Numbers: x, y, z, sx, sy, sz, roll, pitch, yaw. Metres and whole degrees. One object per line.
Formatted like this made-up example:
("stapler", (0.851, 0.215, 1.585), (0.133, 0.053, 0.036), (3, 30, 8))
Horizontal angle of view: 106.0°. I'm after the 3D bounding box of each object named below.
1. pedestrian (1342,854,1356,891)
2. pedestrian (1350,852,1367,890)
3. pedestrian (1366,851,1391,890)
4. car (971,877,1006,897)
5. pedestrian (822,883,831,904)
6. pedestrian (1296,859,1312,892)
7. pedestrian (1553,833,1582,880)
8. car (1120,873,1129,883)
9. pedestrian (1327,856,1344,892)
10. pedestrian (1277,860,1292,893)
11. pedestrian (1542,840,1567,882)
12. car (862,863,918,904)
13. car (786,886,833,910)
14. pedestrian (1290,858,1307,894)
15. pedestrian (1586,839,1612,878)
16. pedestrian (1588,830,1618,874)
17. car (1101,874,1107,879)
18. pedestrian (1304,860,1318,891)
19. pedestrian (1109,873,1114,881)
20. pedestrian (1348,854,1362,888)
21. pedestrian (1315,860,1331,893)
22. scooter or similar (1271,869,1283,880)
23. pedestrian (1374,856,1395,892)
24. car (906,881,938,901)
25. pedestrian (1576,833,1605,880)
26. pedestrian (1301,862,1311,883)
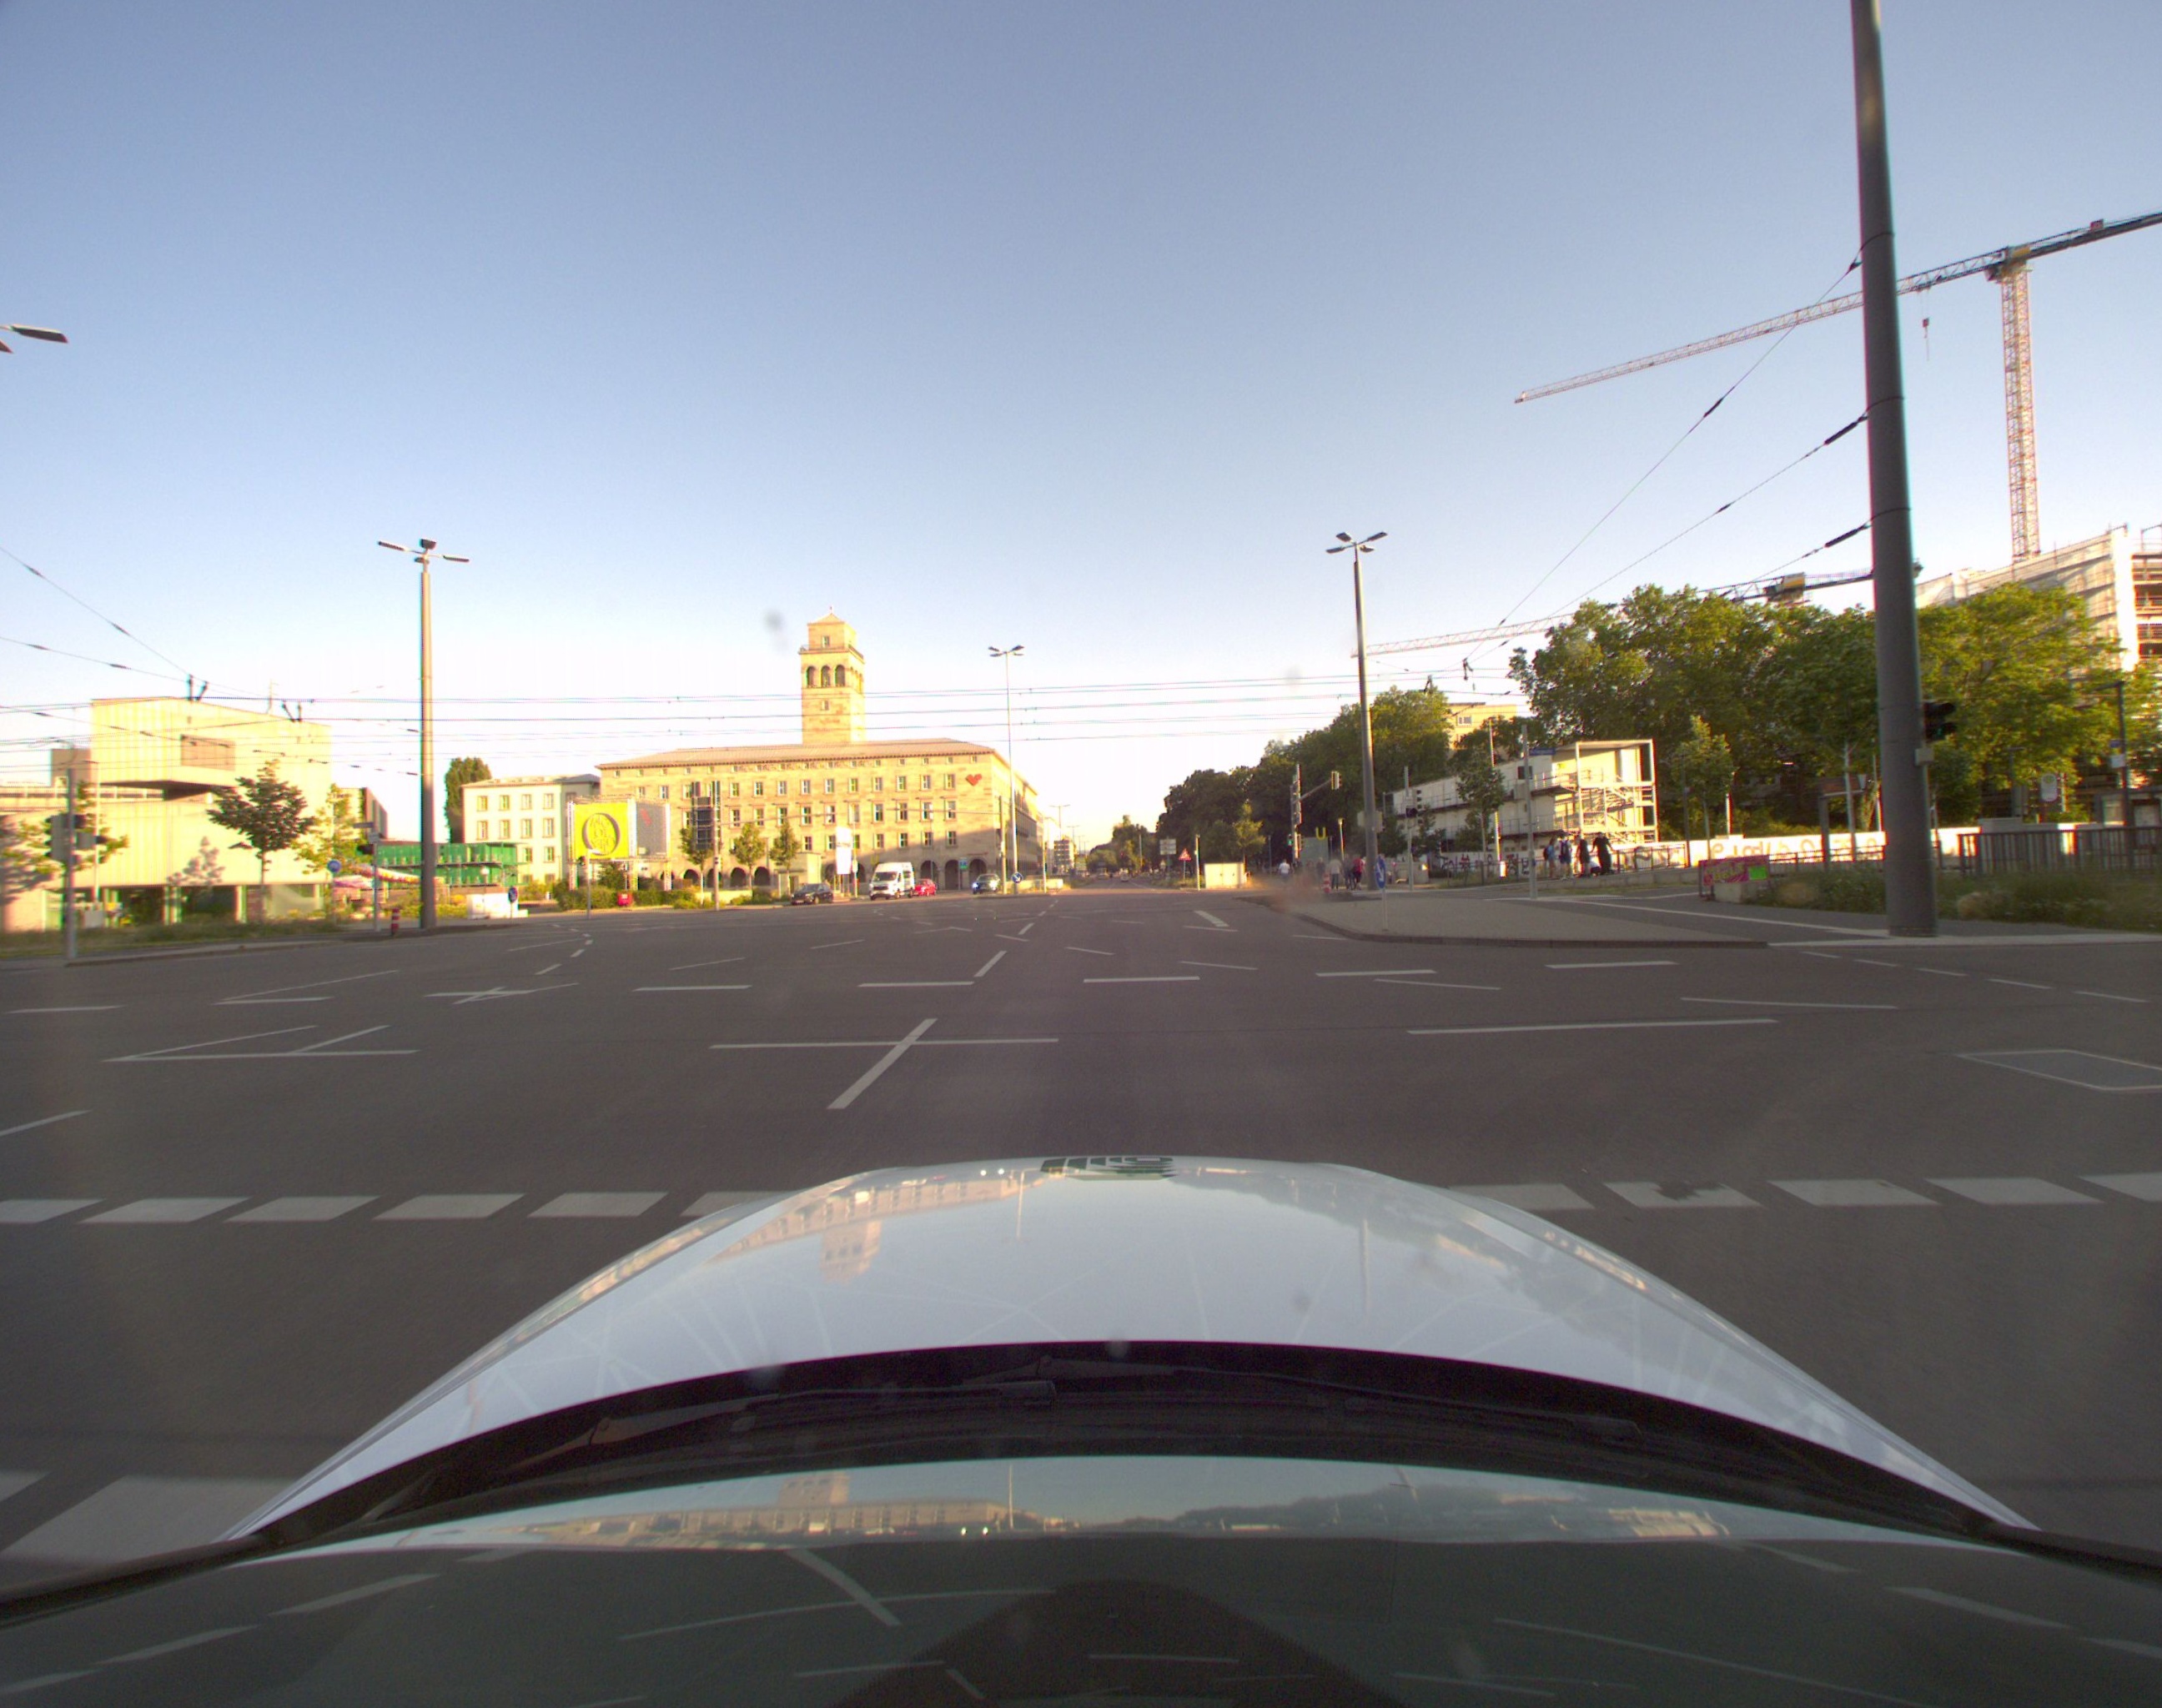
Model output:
("pedestrian", (13.018, 0.888, 39.561), (0.568, 1.791, 0.641), (-2, -1, 15))
("pedestrian", (13.065, 0.799, 38.368), (0.697, 1.734, 0.851), (-2, -1, 18))
("pedestrian", (14.284, 0.795, 39.123), (0.805, 1.791, 0.798), (-2, -1, -9))
("car", (-6.813, 2.412, 60.234), (1.815, 1.342, 4.004), (-2, -1, 4))
("pedestrian", (-21.459, 3.331, 68.554), (0.620, 1.744, 0.459), (0, -3, -4))
("pedestrian", (11.931, 1.133, 43.522), (0.705, 1.725, 0.671), (-2, -1, 19))
("pedestrian", (18.404, 0.113, 30.827), (0.706, 1.725, 0.671), (-2, -2, 13))
("car", (7.903, 4.356, 146.830), (1.478, 1.696, 2.974), (-2, -1, 1))
("pedestrian", (12.632, 0.982, 40.468), (0.705, 1.725, 0.919), (-2, -1, 17))
("pedestrian", (10.908, 1.208, 43.702), (0.705, 1.725, 0.671), (-2, -1, 16))
("pedestrian", (18.512, 0.277, 31.843), (0.569, 1.592, 0.536), (-2, -2, 1))
("car", (-13.964, 2.134, 60.052), (2.269, 2.776, 6.088), (-2, -1, 3))
("car", (-18.964, 3.036, 57.095), (1.817, 1.466, 4.157), (-2, -1, 0))
("pedestrian", (10.581, 1.064, 39.597), (0.706, 1.725, 0.918), (-2, -1, 12))
("pedestrian", (19.858, 0.180, 31.245), (0.670, 1.441, 0.718), (-3, -2, 24))
("pedestrian", (20.787, -0.063, 32.430), (0.709, 1.725, 0.668), (-2, -1, -1))
("car", (6.223, 6.114, 222.431), (1.364, 1.234, 3.048), (-2, -1, 3))
("pedestrian", (12.603, 1.166, 44.681), (0.555, 1.655, 0.907), (-3, -1, 22))
("pedestrian", (6.838, 5.163, 181.815), (0.903, 1.671, 1.307), (-2, -1, 1))
("pedestrian", (13.825, 0.855, 41.041), (0.568, 1.679, 0.641), (-2, -1, 15))
("pedestrian", (13.189, 1.205, 44.456), (0.673, 1.758, 0.907), (-3, -1, 22))
("scooter or similar", (22.575, 2.384, 93.852), (0.567, 1.203, 2.984), (-2, -1, 1))
("pedestrian", (15.579, 1.018, 41.855), (0.800, 1.791, 0.802), (-2, -1, 9))
("car", (-13.430, 3.112, 68.851), (1.732, 1.487, 4.001), (-2, -1, 2))
("pedestrian", (19.188, 0.114, 30.689), (0.705, 1.725, 0.671), (-3, -2, 19))
("pedestrian", (20.493, 1.659, 74.180), (0.662, 1.842, 0.714), (-2, -1, 7))
